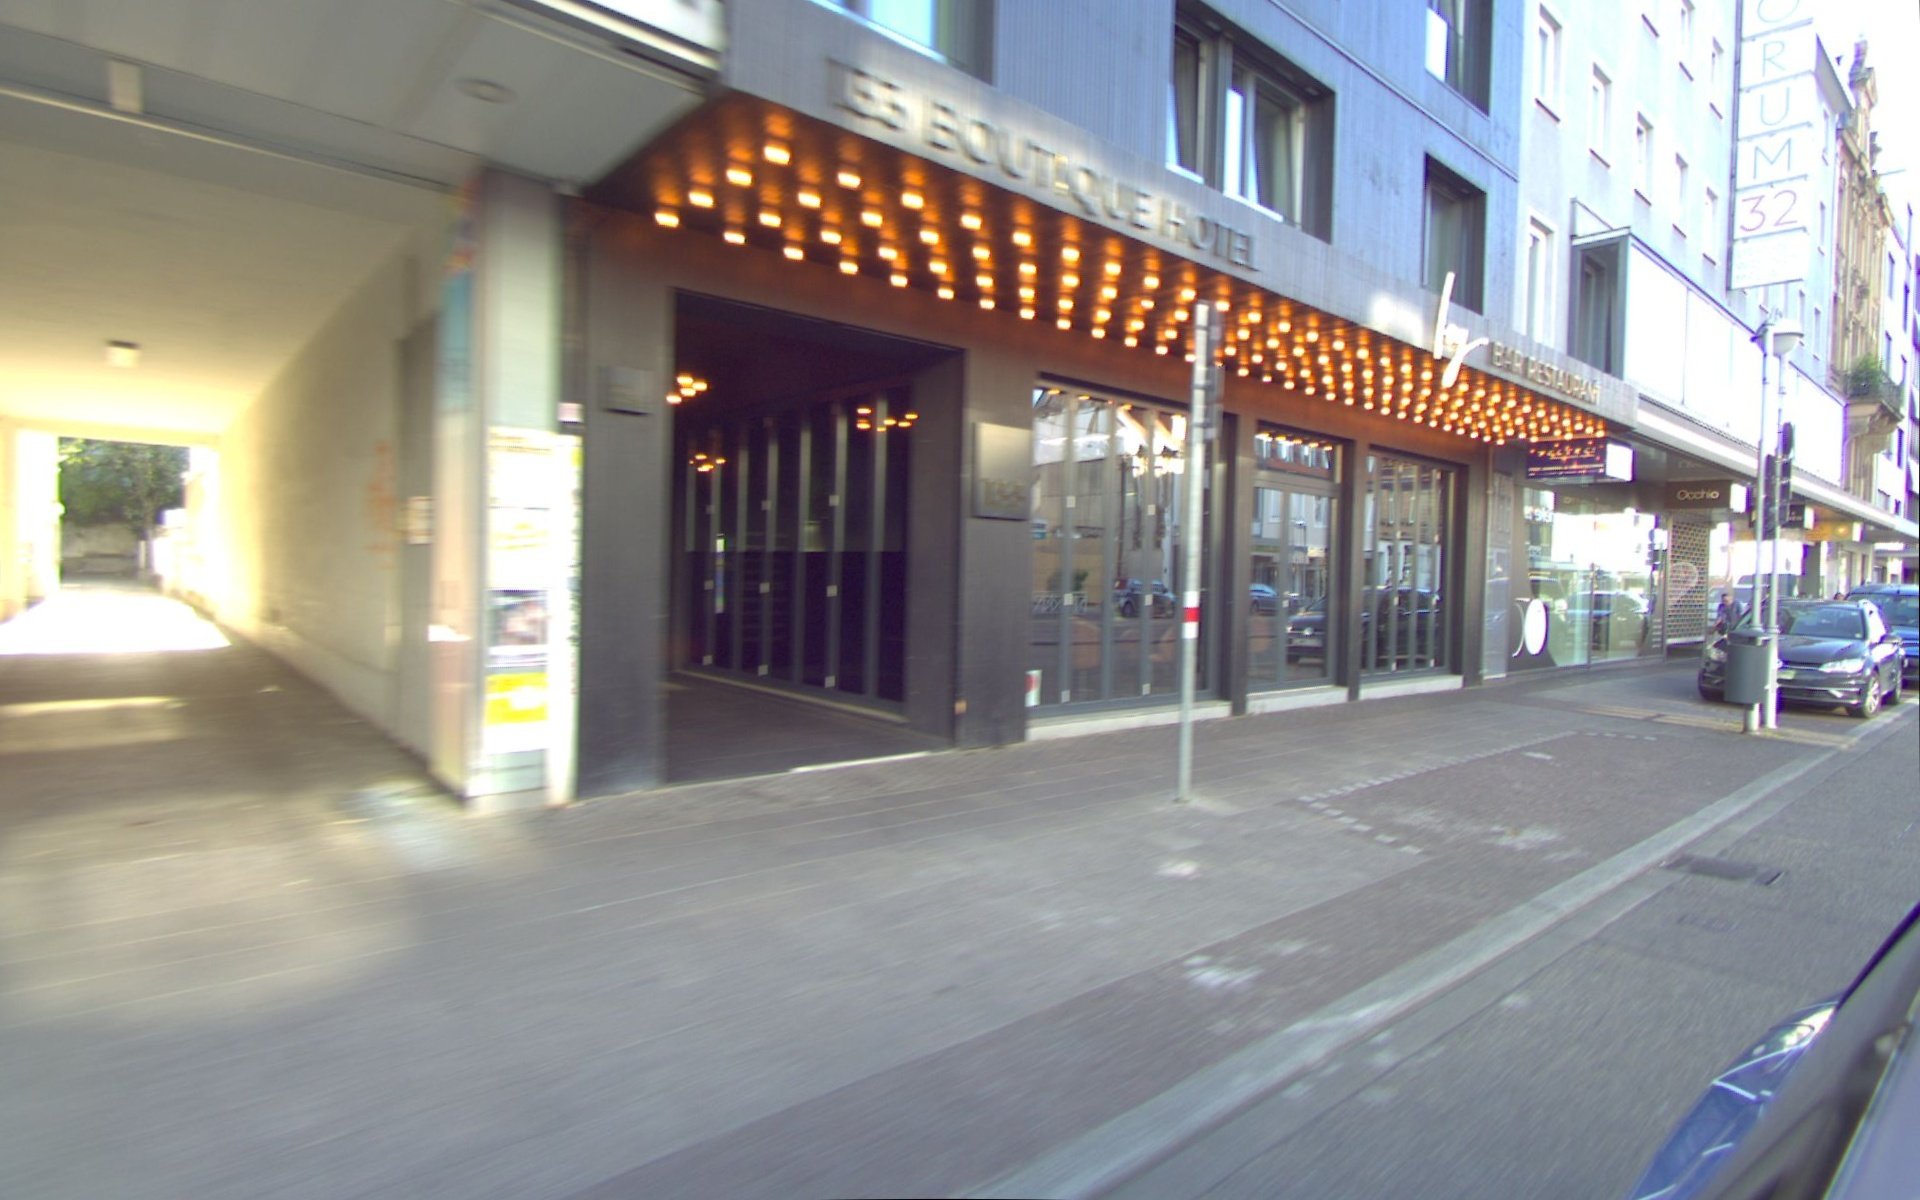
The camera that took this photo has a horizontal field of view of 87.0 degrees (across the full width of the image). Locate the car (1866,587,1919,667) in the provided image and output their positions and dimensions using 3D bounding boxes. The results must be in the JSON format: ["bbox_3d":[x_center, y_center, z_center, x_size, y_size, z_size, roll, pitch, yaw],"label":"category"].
[{"bbox_3d":[21.456,0.566,22.260,4.215,1.596,1.767,0,4,-42],"label":"car"}]

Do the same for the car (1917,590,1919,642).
[{"bbox_3d":[31.301,0.328,31.408,4.798,1.933,2.048,-1,3,-44],"label":"car"}]

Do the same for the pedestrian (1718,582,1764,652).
[{"bbox_3d":[16.977,0.353,22.004,0.718,1.457,0.577,0,4,-41],"label":"pedestrian"}]

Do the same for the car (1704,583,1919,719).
[{"bbox_3d":[11.968,0.579,14.014,4.340,1.502,1.725,0,4,-41],"label":"car"}]

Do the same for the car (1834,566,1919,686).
[{"bbox_3d":[16.890,0.410,17.843,4.476,1.882,1.818,-1,4,-45],"label":"car"}]

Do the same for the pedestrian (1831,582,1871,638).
[{"bbox_3d":[24.844,0.275,28.221,0.800,1.526,0.696,0,2,-41],"label":"pedestrian"}]

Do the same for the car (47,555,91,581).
[{"bbox_3d":[-36.030,-1.290,40.907,1.266,0.976,2.562,0,2,-43],"label":"car"}]
